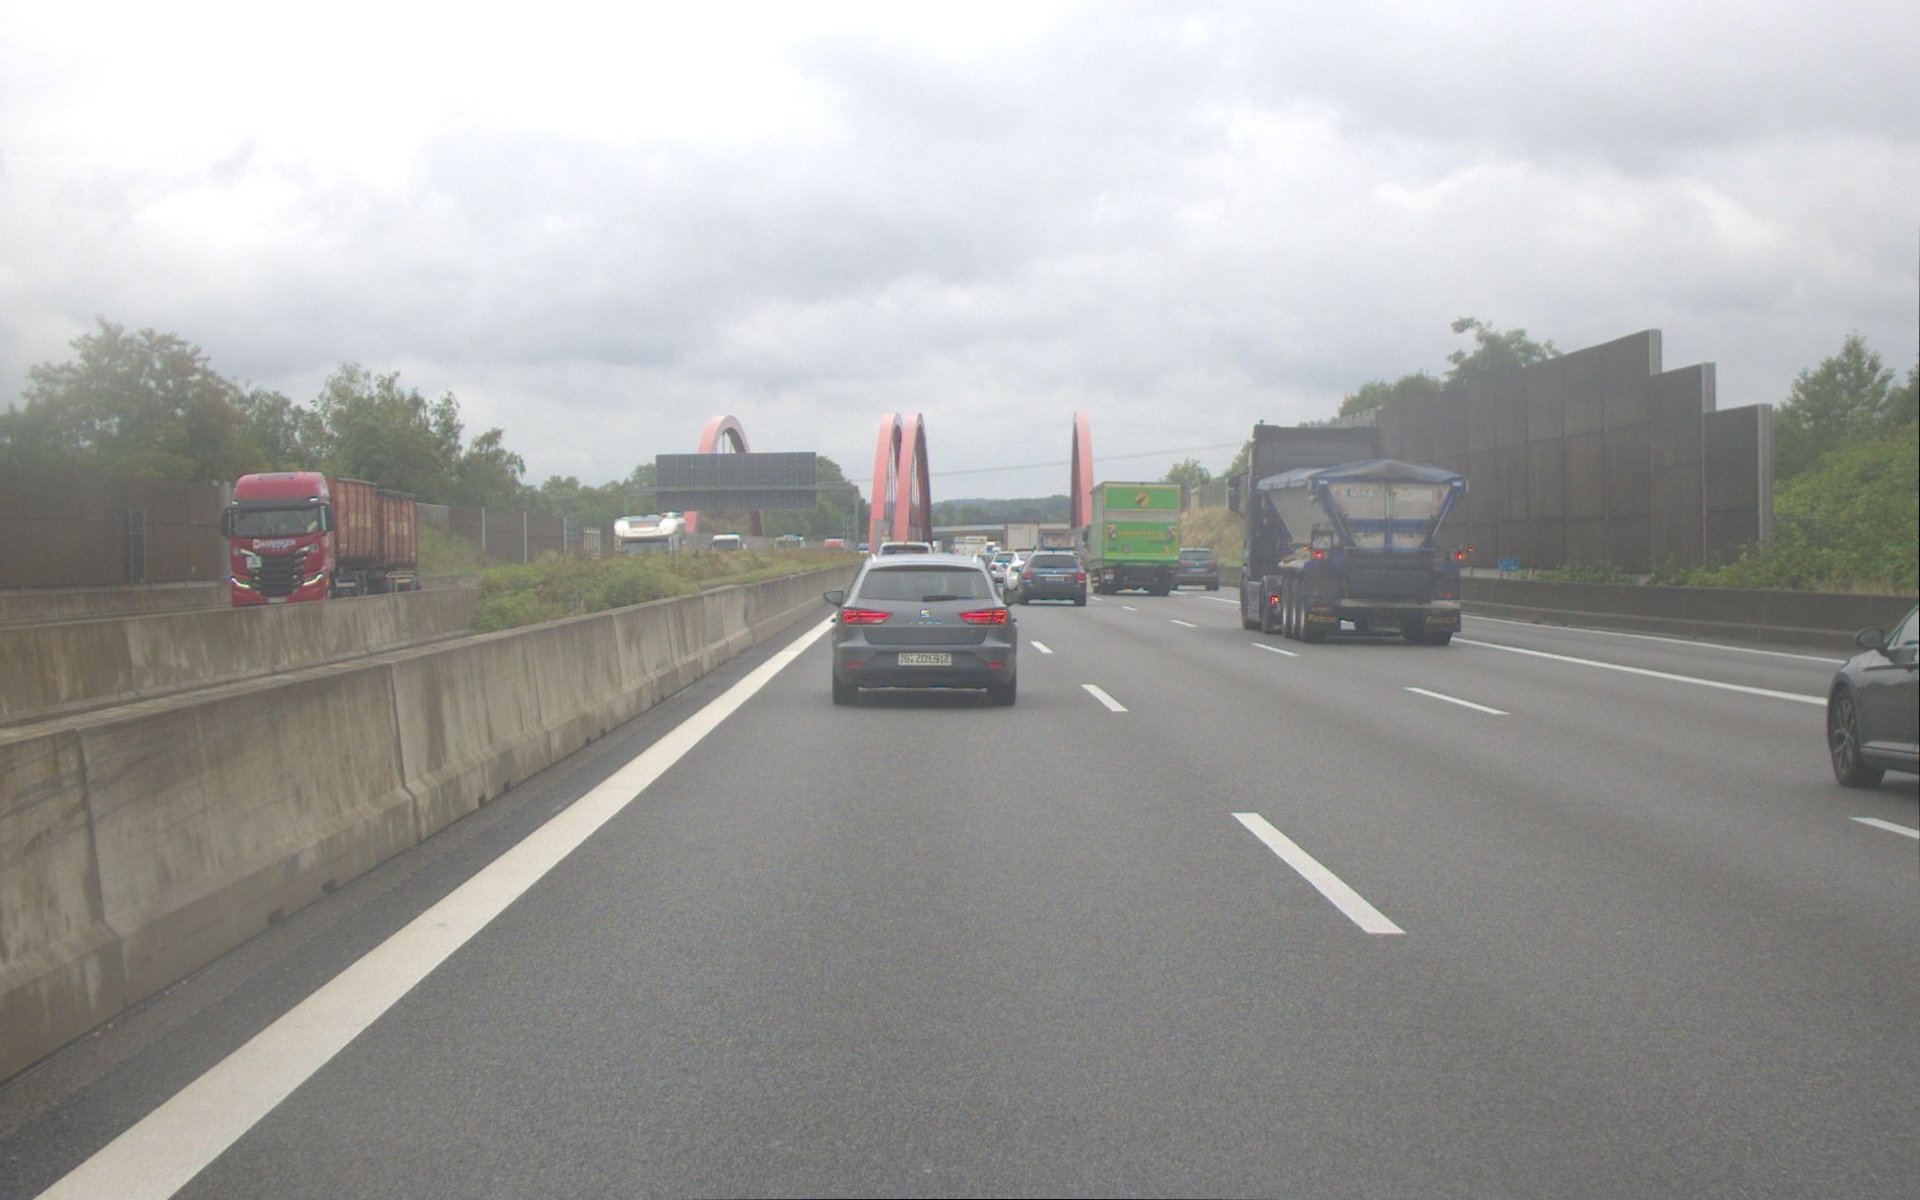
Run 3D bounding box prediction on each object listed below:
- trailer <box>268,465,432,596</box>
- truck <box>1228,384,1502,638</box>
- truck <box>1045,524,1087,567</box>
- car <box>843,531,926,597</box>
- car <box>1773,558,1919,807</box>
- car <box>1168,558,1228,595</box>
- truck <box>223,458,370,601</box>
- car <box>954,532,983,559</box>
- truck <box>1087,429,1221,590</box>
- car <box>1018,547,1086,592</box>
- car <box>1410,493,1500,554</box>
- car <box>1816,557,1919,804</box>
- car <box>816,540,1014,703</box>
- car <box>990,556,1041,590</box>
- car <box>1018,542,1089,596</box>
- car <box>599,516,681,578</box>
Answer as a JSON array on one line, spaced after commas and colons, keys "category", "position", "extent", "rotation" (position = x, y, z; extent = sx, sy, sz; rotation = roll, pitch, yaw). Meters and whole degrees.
[{"category": "trailer", "position": [-18.113, -2.069, 102.913], "extent": [2.726, 3.671, 12.564], "rotation": [-1, 1, -1]}, {"category": "truck", "position": [6.847, -1.478, 60.326], "extent": [3.089, 3.936, 12.946], "rotation": [-1, 1, -1]}, {"category": "truck", "position": [6.338, -3.265, 206.343], "extent": [2.361, 2.498, 6.144], "rotation": [1, 1, 1]}, {"category": "car", "position": [-1.875, -0.921, 85.947], "extent": [1.993, 1.579, 4.000], "rotation": [-1, 1, -1]}, {"category": "car", "position": [6.563, 0.503, 20.623], "extent": [1.939, 1.422, 5.290], "rotation": [1, 1, -2]}, {"category": "car", "position": [9.184, -0.932, 132.937], "extent": [1.993, 1.349, 4.000], "rotation": [-1, 1, -1]}, {"category": "truck", "position": [-18.000, -1.891, 93.629], "extent": [2.696, 3.694, 6.481], "rotation": [1, 1, 0]}, {"category": "car", "position": [0.601, -3.843, 242.441], "extent": [1.993, 1.809, 4.000], "rotation": [1, 1, 0]}, {"category": "truck", "position": [6.597, -3.061, 119.001], "extent": [3.997, 5.248, 11.220], "rotation": [1, 1, 0]}, {"category": "car", "position": [2.818, -0.961, 106.372], "extent": [1.993, 1.349, 4.000], "rotation": [0, 1, 0]}, {"category": "car", "position": [14.552, -2.246, 101.312], "extent": [1.993, 1.744, 4.000], "rotation": [-1, 1, -1]}, {"category": "car", "position": [6.485, 0.489, 20.223], "extent": [1.663, 1.451, 4.471], "rotation": [1, 1, -1]}, {"category": "car", "position": [-0.456, 0.163, 32.940], "extent": [1.763, 1.448, 4.000], "rotation": [1, 1, -1]}, {"category": "car", "position": [2.283, -1.131, 142.074], "extent": [1.993, 1.349, 4.000], "rotation": [-1, 1, -1]}, {"category": "car", "position": [2.482, -0.847, 92.241], "extent": [1.782, 1.401, 3.626], "rotation": [0, 1, 0]}, {"category": "car", "position": [-11.648, -1.915, 125.618], "extent": [2.373, 2.185, 7.724], "rotation": [0, 1, -1]}]
